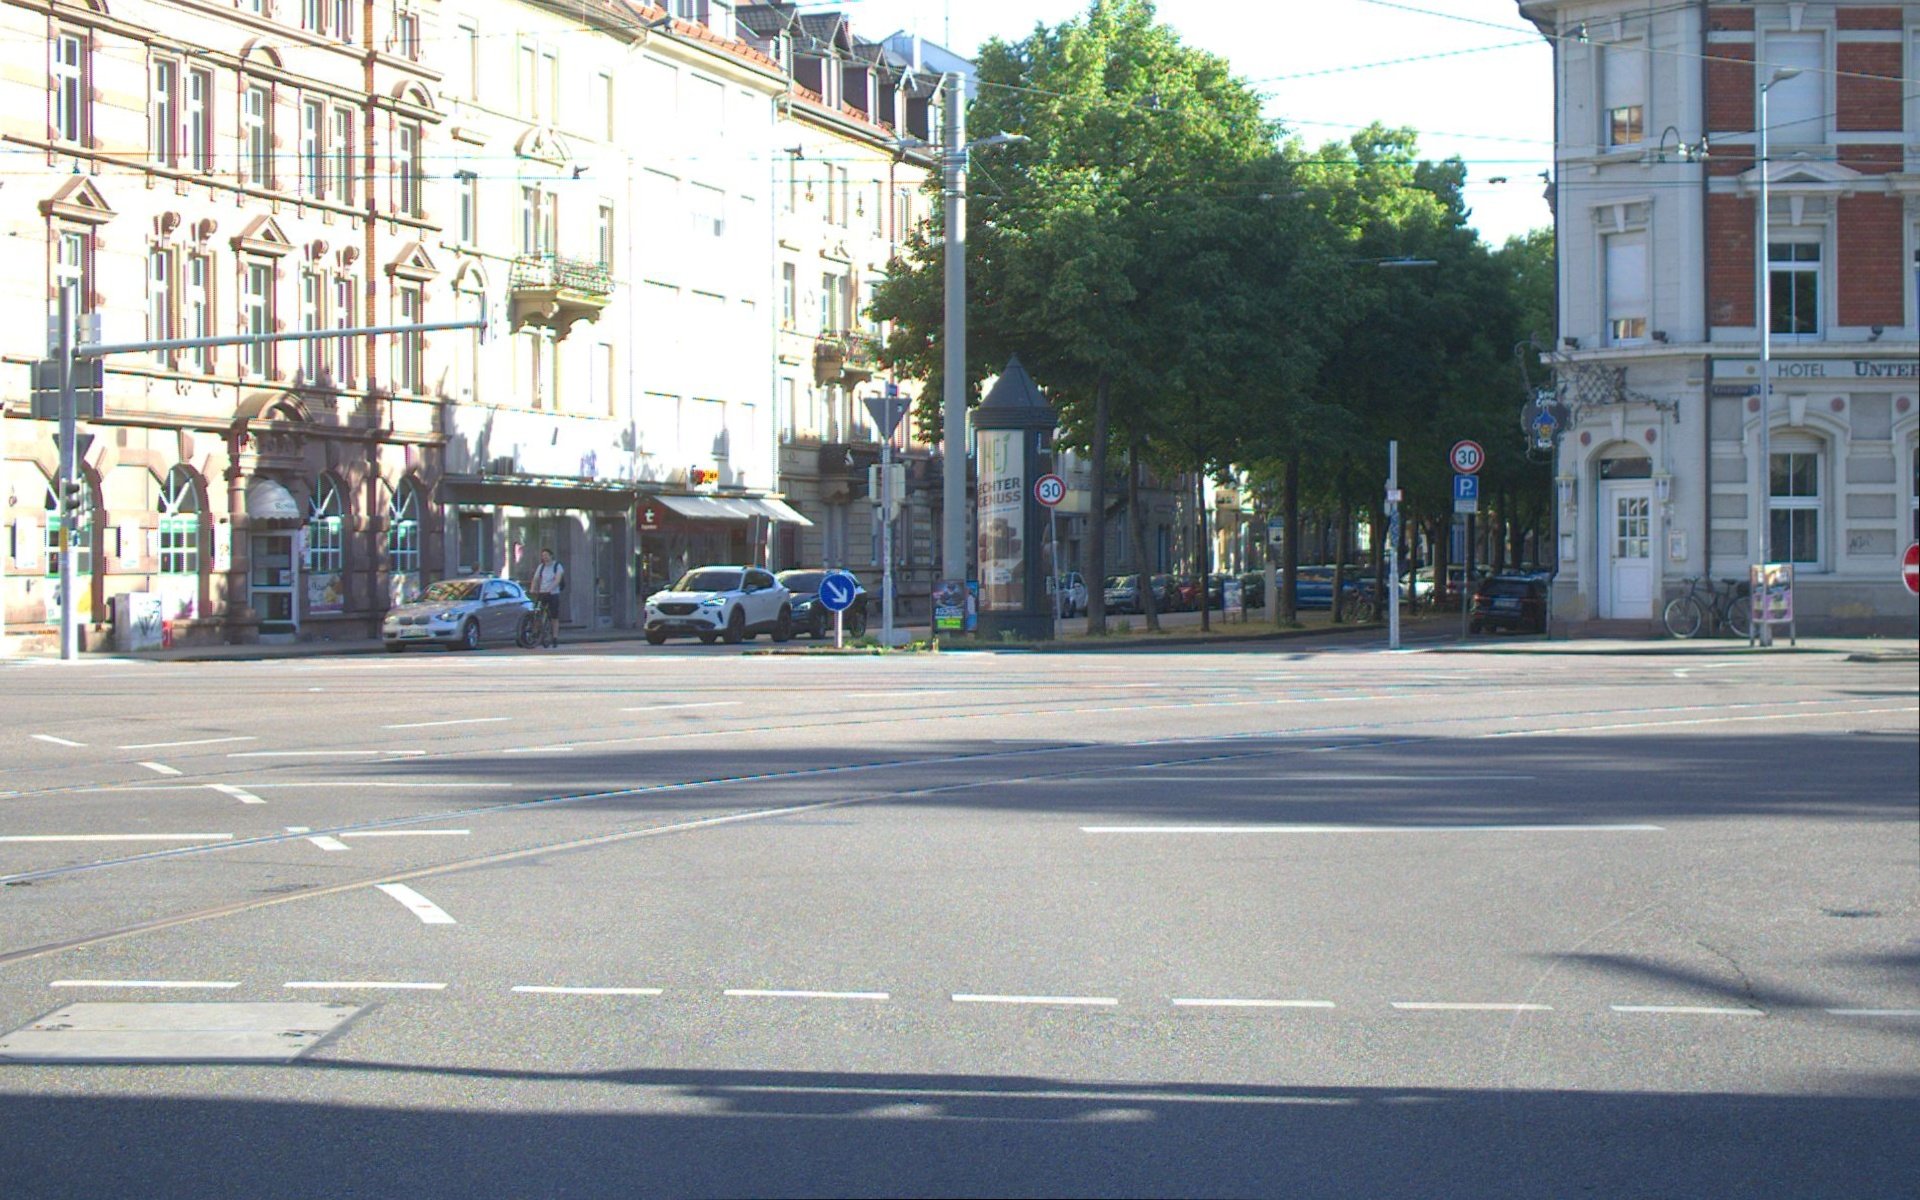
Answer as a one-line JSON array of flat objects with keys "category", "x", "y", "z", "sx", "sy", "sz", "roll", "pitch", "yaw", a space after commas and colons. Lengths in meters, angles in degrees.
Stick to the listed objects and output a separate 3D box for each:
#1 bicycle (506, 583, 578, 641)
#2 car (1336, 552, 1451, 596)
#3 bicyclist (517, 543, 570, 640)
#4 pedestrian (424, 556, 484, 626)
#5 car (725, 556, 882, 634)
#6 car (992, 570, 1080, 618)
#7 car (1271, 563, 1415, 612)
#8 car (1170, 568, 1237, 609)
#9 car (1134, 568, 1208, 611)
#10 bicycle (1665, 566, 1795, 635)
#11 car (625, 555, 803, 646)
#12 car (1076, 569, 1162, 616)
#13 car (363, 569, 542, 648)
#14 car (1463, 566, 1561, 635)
[{"category": "bicycle", "x": -7.892, "y": 0.217, "z": 65.020, "sx": 0.680, "sy": 1.062, "sz": 2.124, "roll": 0, "pitch": 1, "yaw": 12}, {"category": "car", "x": 16.854, "y": -1.010, "z": 133.635, "sx": 3.993, "sy": 1.700, "sz": 1.997, "roll": 0, "pitch": 1, "yaw": 30}, {"category": "bicyclist", "x": -7.882, "y": -0.163, "z": 65.056, "sx": 0.679, "sy": 1.814, "sz": 1.070, "roll": 0, "pitch": 1, "yaw": 12}, {"category": "pedestrian", "x": -11.130, "y": -0.202, "z": 75.640, "sx": 0.929, "sy": 1.530, "sz": 1.136, "roll": 0, "pitch": 1, "yaw": 14}, {"category": "car", "x": -3.322, "y": -0.135, "z": 73.848, "sx": 1.995, "sy": 1.606, "sz": 4.387, "roll": 0, "pitch": 1, "yaw": 17}, {"category": "car", "x": 2.480, "y": -0.220, "z": 110.973, "sx": 1.995, "sy": 1.481, "sz": 3.998, "roll": 0, "pitch": 1, "yaw": 14}, {"category": "car", "x": 12.850, "y": -0.435, "z": 115.389, "sx": 4.382, "sy": 1.606, "sz": 1.997, "roll": 0, "pitch": 1, "yaw": 27}, {"category": "car", "x": 9.692, "y": -0.464, "z": 136.342, "sx": 1.766, "sy": 1.544, "sz": 4.387, "roll": 0, "pitch": 1, "yaw": 16}, {"category": "car", "x": 8.026, "y": -0.415, "z": 130.465, "sx": 1.839, "sy": 1.547, "sz": 4.387, "roll": 0, "pitch": 1, "yaw": 17}, {"category": "bicycle", "x": 12.854, "y": 0.010, "z": 57.400, "sx": 2.085, "sy": 1.120, "sz": 0.367, "roll": 1, "pitch": 0, "yaw": -4}, {"category": "car", "x": -4.767, "y": -0.017, "z": 67.334, "sx": 1.995, "sy": 1.678, "sz": 4.387, "roll": 0, "pitch": 1, "yaw": 17}, {"category": "car", "x": 5.699, "y": -0.296, "z": 122.675, "sx": 1.995, "sy": 1.607, "sz": 4.387, "roll": 0, "pitch": 1, "yaw": 17}, {"category": "car", "x": -9.856, "y": 0.149, "z": 67.059, "sx": 1.900, "sy": 1.450, "sz": 3.997, "roll": 0, "pitch": 1, "yaw": 17}, {"category": "car", "x": 13.265, "y": -0.009, "z": 82.451, "sx": 1.995, "sy": 1.579, "sz": 3.998, "roll": 0, "pitch": 1, "yaw": 14}]
